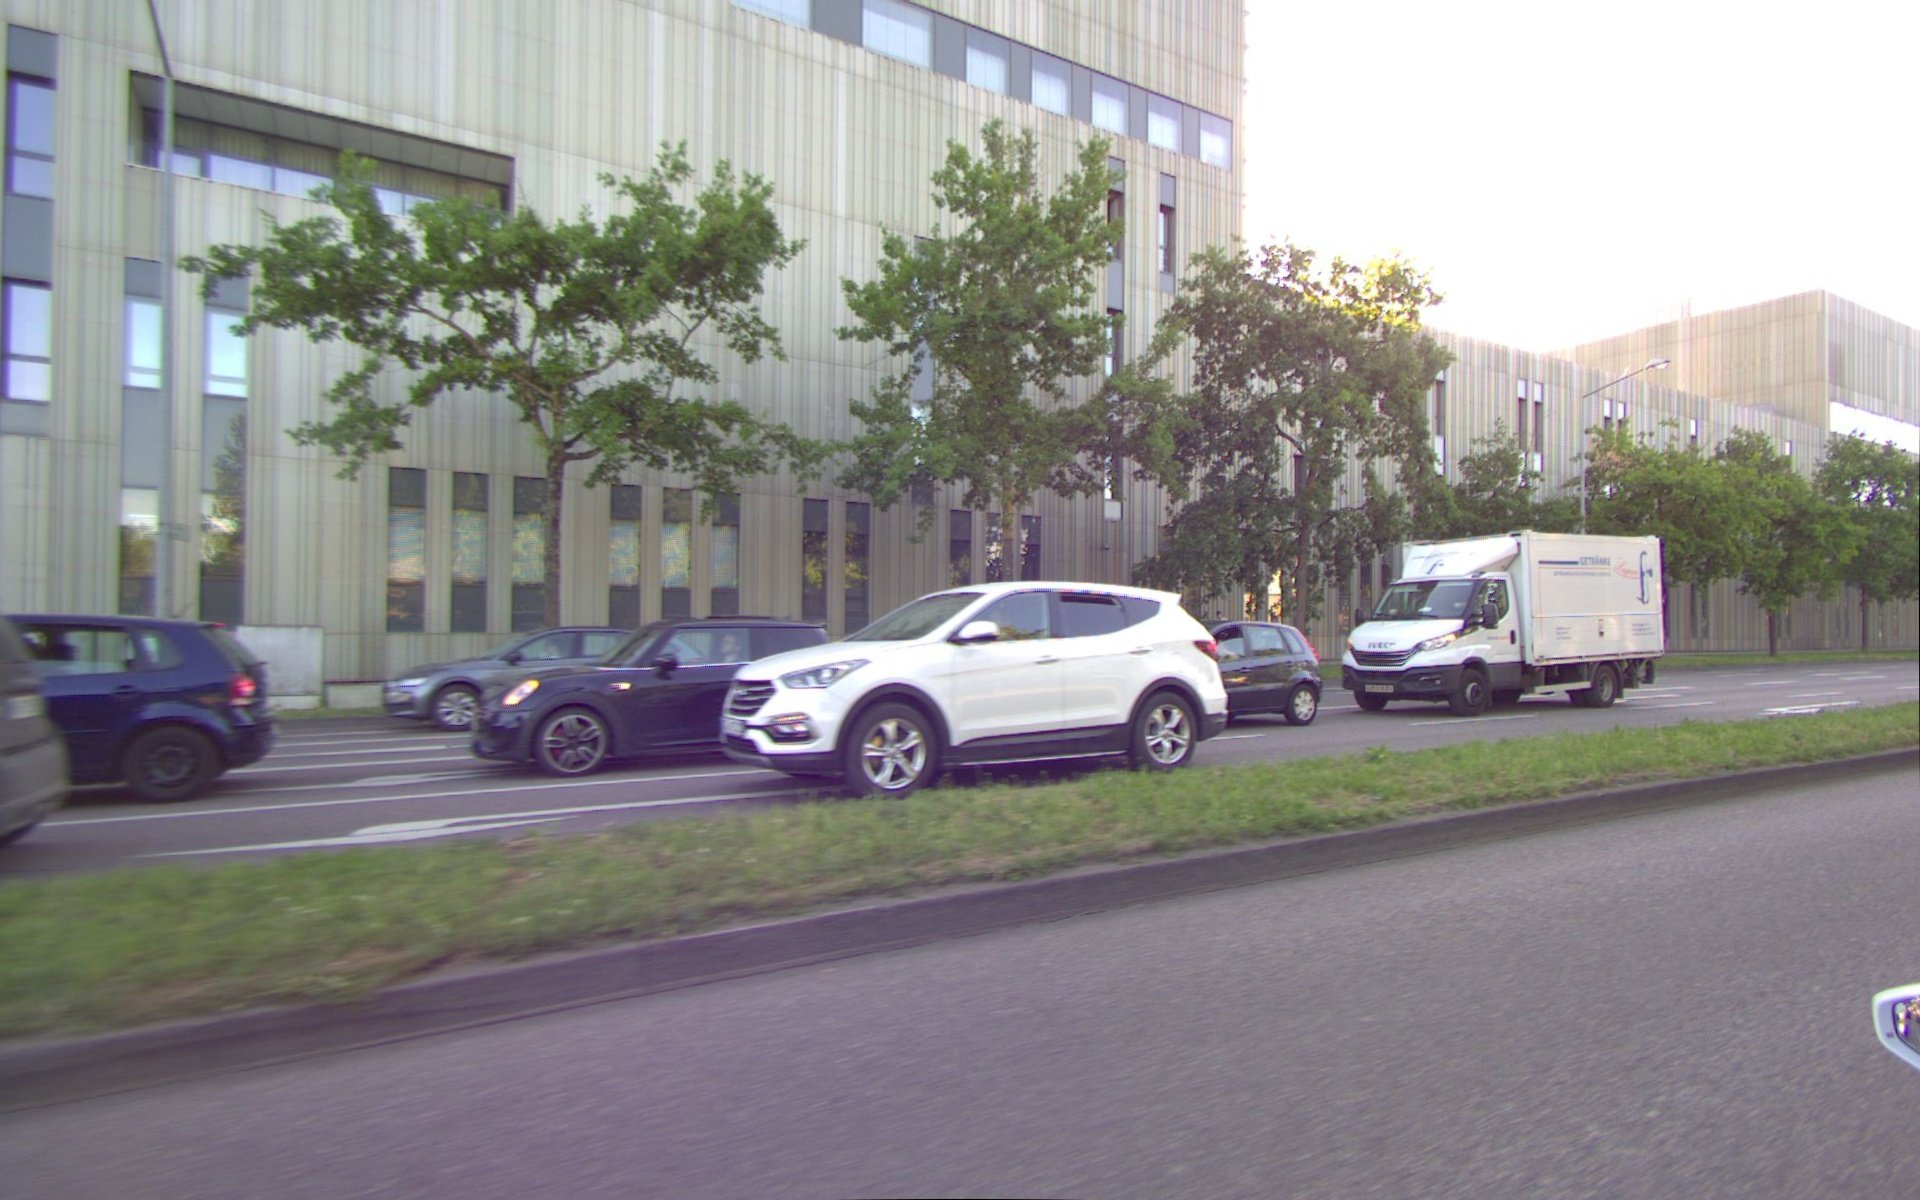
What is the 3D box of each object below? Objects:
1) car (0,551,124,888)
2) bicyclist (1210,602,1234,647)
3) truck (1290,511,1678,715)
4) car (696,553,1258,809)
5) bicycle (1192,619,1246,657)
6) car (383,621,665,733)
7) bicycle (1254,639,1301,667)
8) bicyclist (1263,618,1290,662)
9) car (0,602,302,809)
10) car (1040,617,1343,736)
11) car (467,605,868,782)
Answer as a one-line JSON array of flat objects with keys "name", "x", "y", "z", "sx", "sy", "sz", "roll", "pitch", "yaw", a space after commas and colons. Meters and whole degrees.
[{"name": "car", "x": -6.213, "y": 0.560, "z": 4.756, "sx": 3.174, "sy": 1.601, "sz": 1.594, "roll": 1, "pitch": -2, "yaw": -30}, {"name": "bicyclist", "x": 8.983, "y": 0.850, "z": 34.450, "sx": 0.637, "sy": 1.527, "sz": 0.505, "roll": 1, "pitch": -1, "yaw": -31}, {"name": "truck", "x": 9.313, "y": 0.314, "z": 17.651, "sx": 7.030, "sy": 2.999, "sz": 2.674, "roll": 1, "pitch": -3, "yaw": -30}, {"name": "car", "x": 0.254, "y": 0.629, "z": 8.682, "sx": 4.605, "sy": 1.704, "sz": 1.815, "roll": 1, "pitch": -3, "yaw": -31}, {"name": "bicycle", "x": 8.887, "y": 1.296, "z": 34.392, "sx": 2.076, "sy": 1.287, "sz": 0.509, "roll": 1, "pitch": -1, "yaw": -31}, {"name": "car", "x": -6.519, "y": 1.071, "z": 15.125, "sx": 3.692, "sy": 1.482, "sz": 1.598, "roll": 1, "pitch": -1, "yaw": -33}, {"name": "bicycle", "x": 10.759, "y": 1.780, "z": 34.027, "sx": 1.734, "sy": 0.902, "sz": 0.509, "roll": 1, "pitch": -1, "yaw": -31}, {"name": "bicyclist", "x": 10.710, "y": 1.356, "z": 34.003, "sx": 0.744, "sy": 1.461, "sz": 0.505, "roll": 1, "pitch": -1, "yaw": -31}, {"name": "car", "x": -7.333, "y": 0.770, "z": 7.733, "sx": 3.712, "sy": 1.460, "sz": 1.694, "roll": 1, "pitch": -2, "yaw": -32}, {"name": "car", "x": 3.258, "y": 0.980, "z": 13.997, "sx": 3.953, "sy": 1.443, "sz": 1.826, "roll": 1, "pitch": -2, "yaw": -31}, {"name": "car", "x": -2.883, "y": 0.845, "z": 10.066, "sx": 3.597, "sy": 1.489, "sz": 1.613, "roll": 1, "pitch": -3, "yaw": -30}]
